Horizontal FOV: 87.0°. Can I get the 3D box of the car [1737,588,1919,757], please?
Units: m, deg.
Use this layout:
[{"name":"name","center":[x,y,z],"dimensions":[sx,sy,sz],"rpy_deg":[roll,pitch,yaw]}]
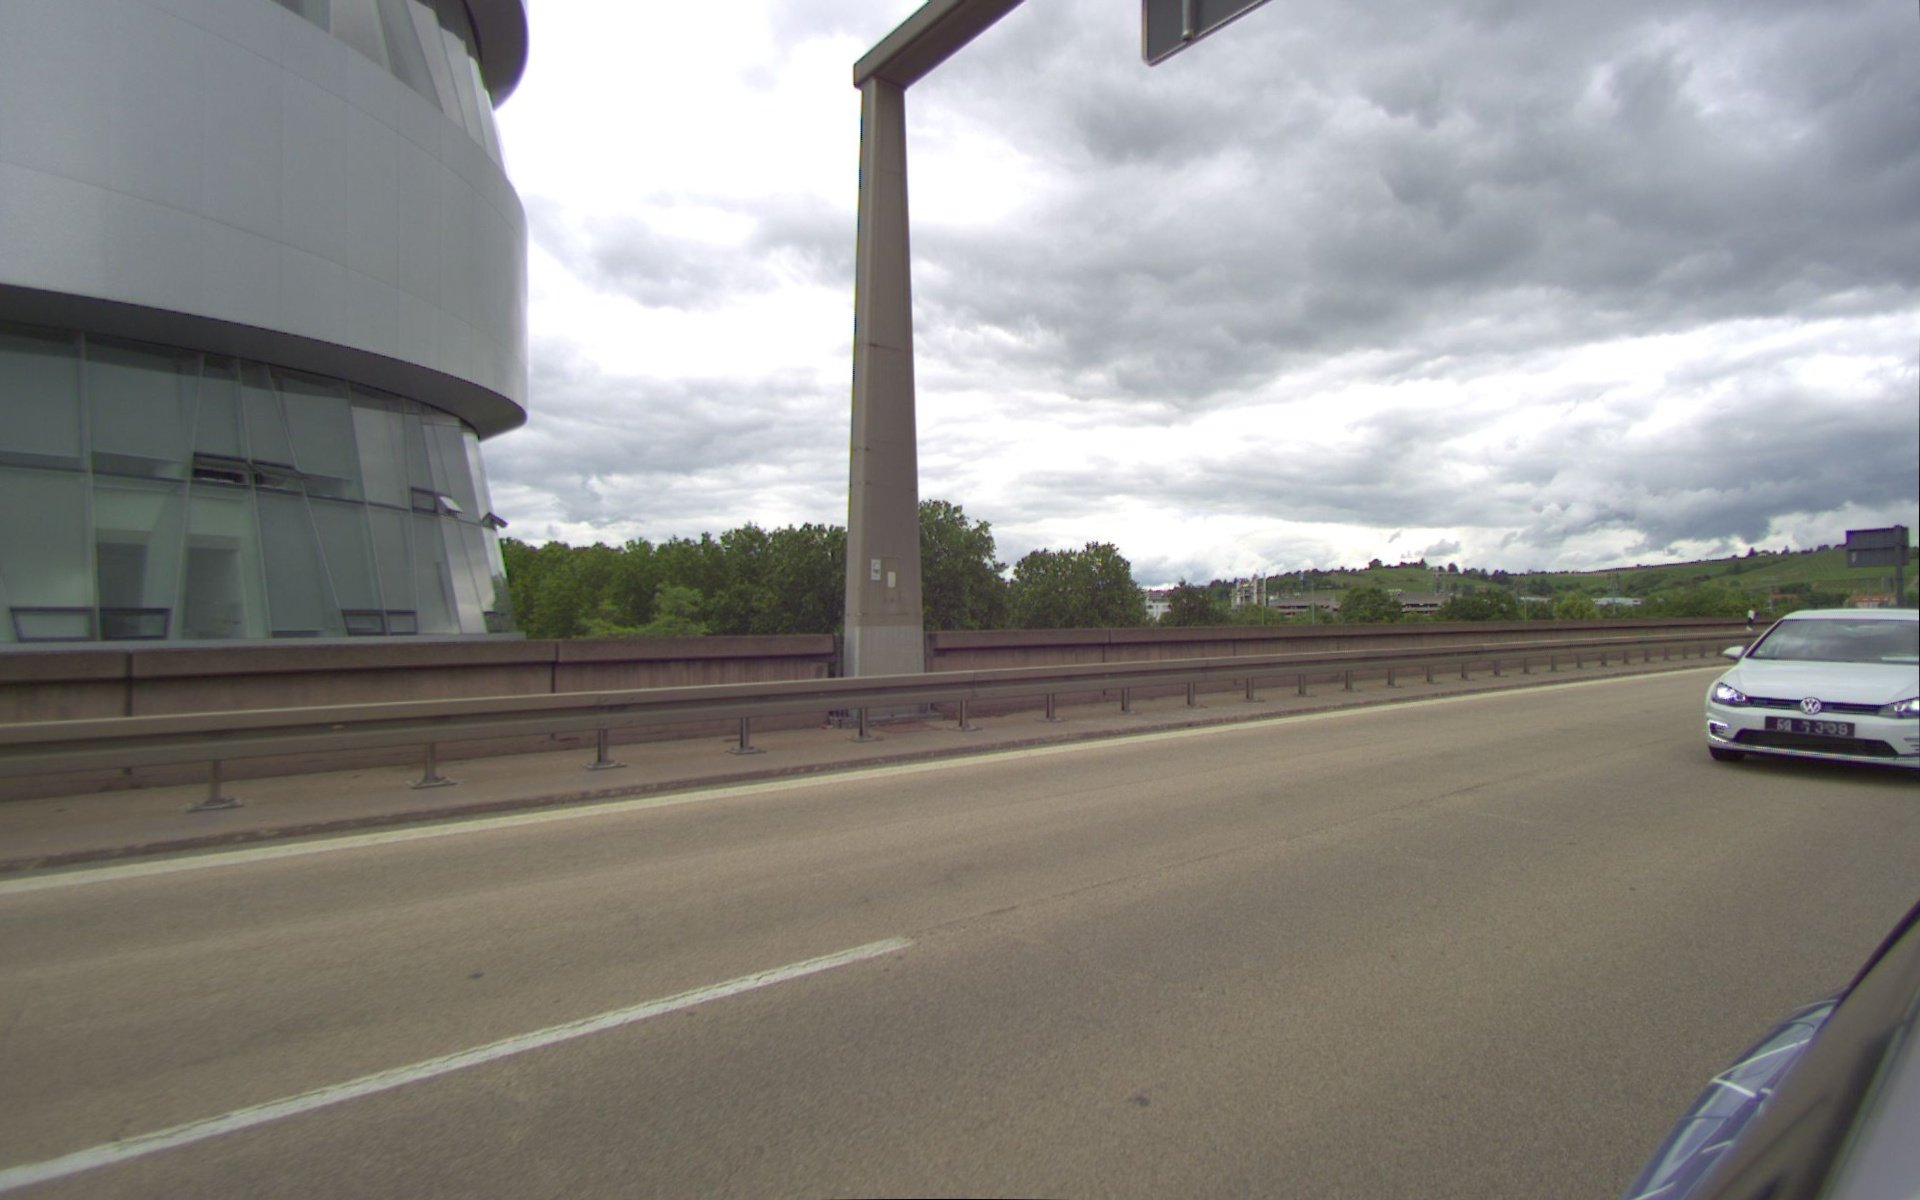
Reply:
[{"name":"car","center":[10.082,0.646,10.830],"dimensions":[3.988,1.527,1.930],"rpy_deg":[-1,1,-39]}]
